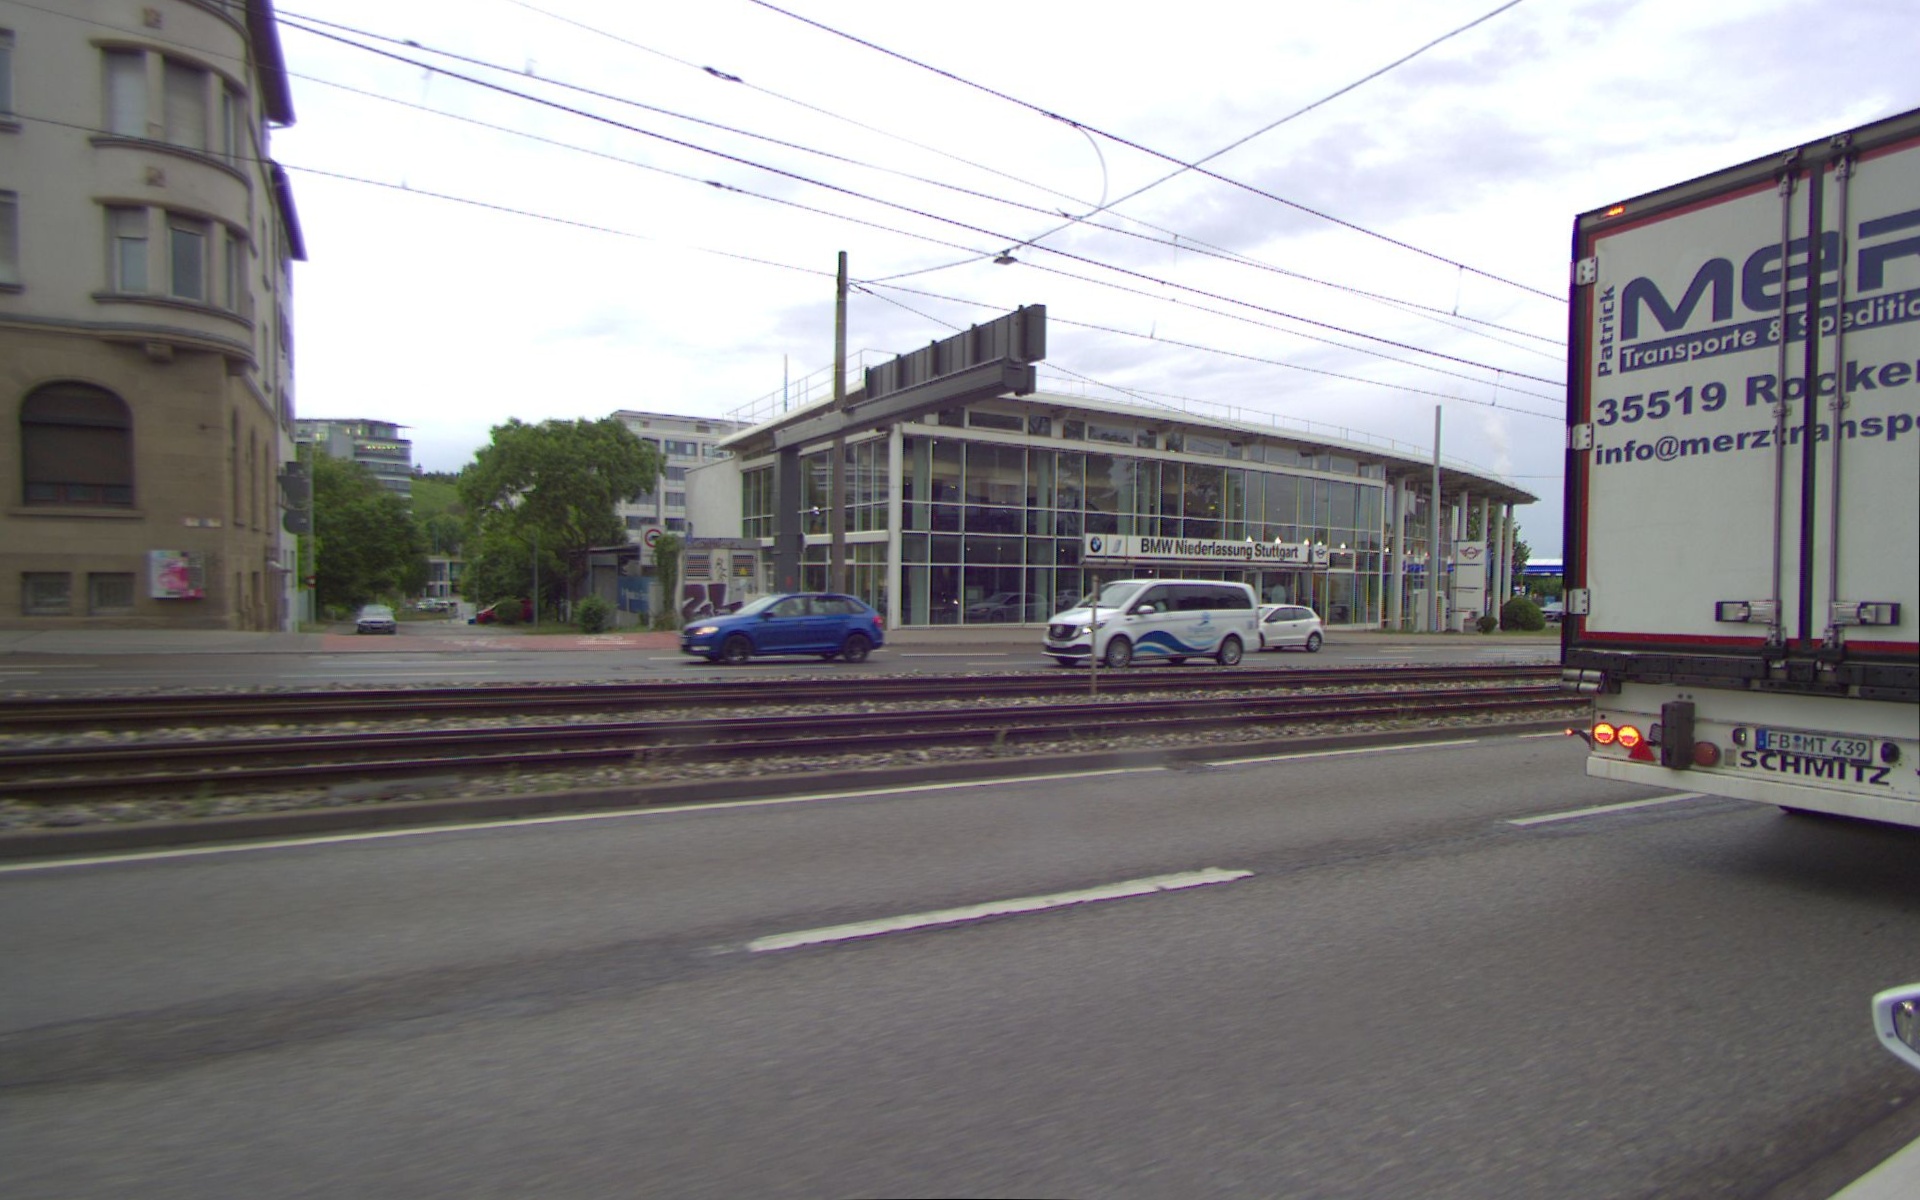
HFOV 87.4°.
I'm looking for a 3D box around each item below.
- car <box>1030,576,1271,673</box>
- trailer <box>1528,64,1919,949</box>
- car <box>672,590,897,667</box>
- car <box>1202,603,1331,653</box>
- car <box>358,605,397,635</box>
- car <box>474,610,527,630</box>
[{"bbox_3d":[4.205,0.505,21.886,5.133,1.899,1.983,1,1,-31],"label":"car"},{"bbox_3d":[10.004,-0.339,8.686,13.029,4.309,2.749,1,-1,-31],"label":"trailer"},{"bbox_3d":[-3.584,0.576,20.772,4.281,1.452,1.598,1,1,-30],"label":"car"},{"bbox_3d":[9.508,0.868,31.074,3.805,1.423,1.672,1,0,-30],"label":"car"},{"bbox_3d":[-30.954,1.039,53.300,1.594,1.452,4.133,1,1,-33],"label":"car"},{"bbox_3d":[-36.334,1.568,79.421,3.608,1.422,1.703,2,0,-30],"label":"car"}]
